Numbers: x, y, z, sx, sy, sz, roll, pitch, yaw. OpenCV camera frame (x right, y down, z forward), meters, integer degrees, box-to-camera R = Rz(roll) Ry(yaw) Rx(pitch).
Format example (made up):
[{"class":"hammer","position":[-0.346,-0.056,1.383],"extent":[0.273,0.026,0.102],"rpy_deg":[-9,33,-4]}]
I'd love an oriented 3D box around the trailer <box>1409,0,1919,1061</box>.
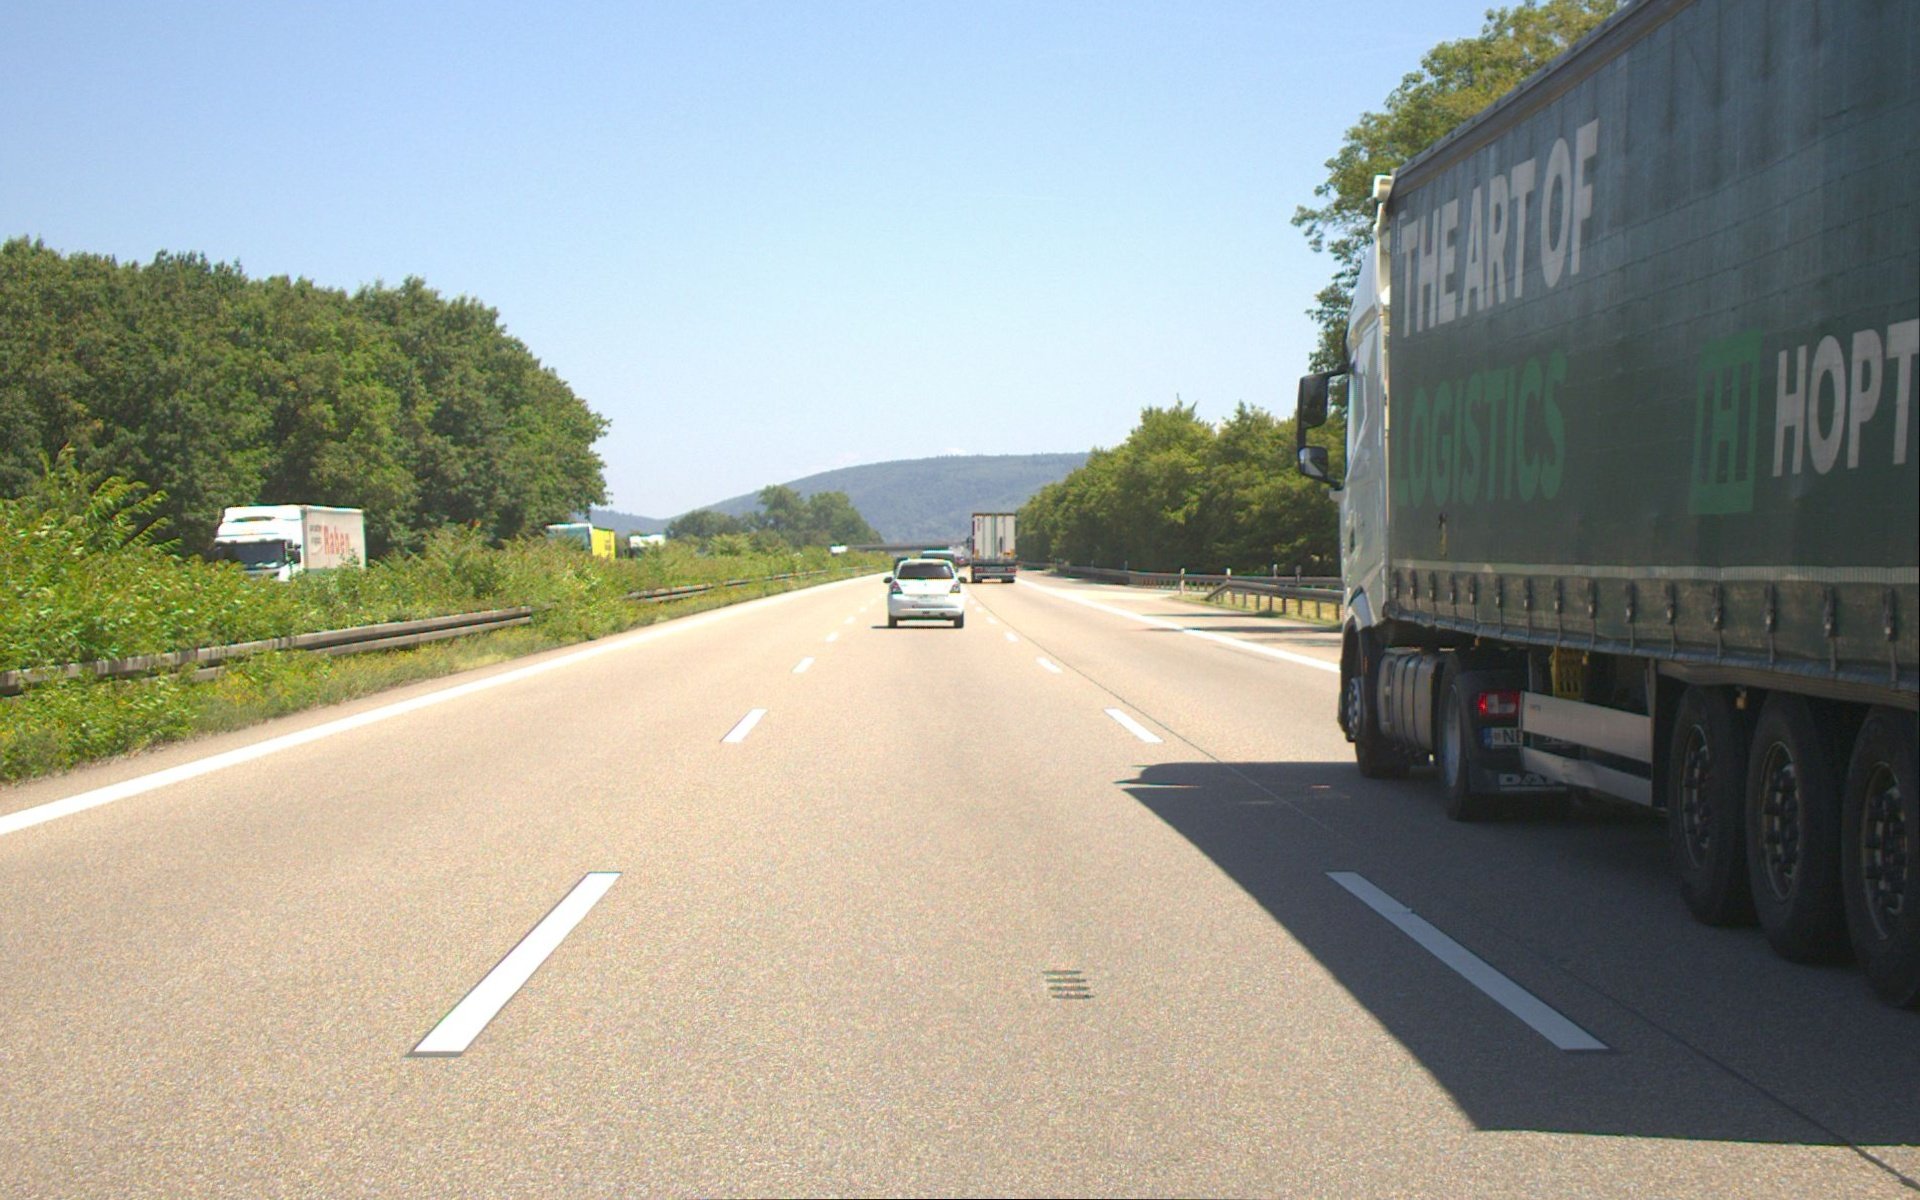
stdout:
[{"class":"trailer","position":[4.295,-1.074,14.217],"extent":[3.182,4.611,12.051],"rpy_deg":[-1,1,0]}]

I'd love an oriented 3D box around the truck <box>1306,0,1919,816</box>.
[{"class":"truck","position":[4.218,-1.181,22.098],"extent":[3.182,4.591,5.948],"rpy_deg":[-1,1,-1]}]

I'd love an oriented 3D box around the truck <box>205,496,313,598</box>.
[{"class":"truck","position":[-22.043,-1.666,108.281],"extent":[2.572,3.134,4.264],"rpy_deg":[-1,1,-1]}]

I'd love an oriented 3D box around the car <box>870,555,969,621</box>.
[{"class":"car","position":[-0.927,-0.288,76.437],"extent":[1.811,1.400,3.318],"rpy_deg":[-1,1,-7]}]

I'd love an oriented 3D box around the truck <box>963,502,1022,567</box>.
[{"class":"truck","position":[1.883,-3.882,204.837],"extent":[3.325,3.744,12.796],"rpy_deg":[0,1,0]}]
